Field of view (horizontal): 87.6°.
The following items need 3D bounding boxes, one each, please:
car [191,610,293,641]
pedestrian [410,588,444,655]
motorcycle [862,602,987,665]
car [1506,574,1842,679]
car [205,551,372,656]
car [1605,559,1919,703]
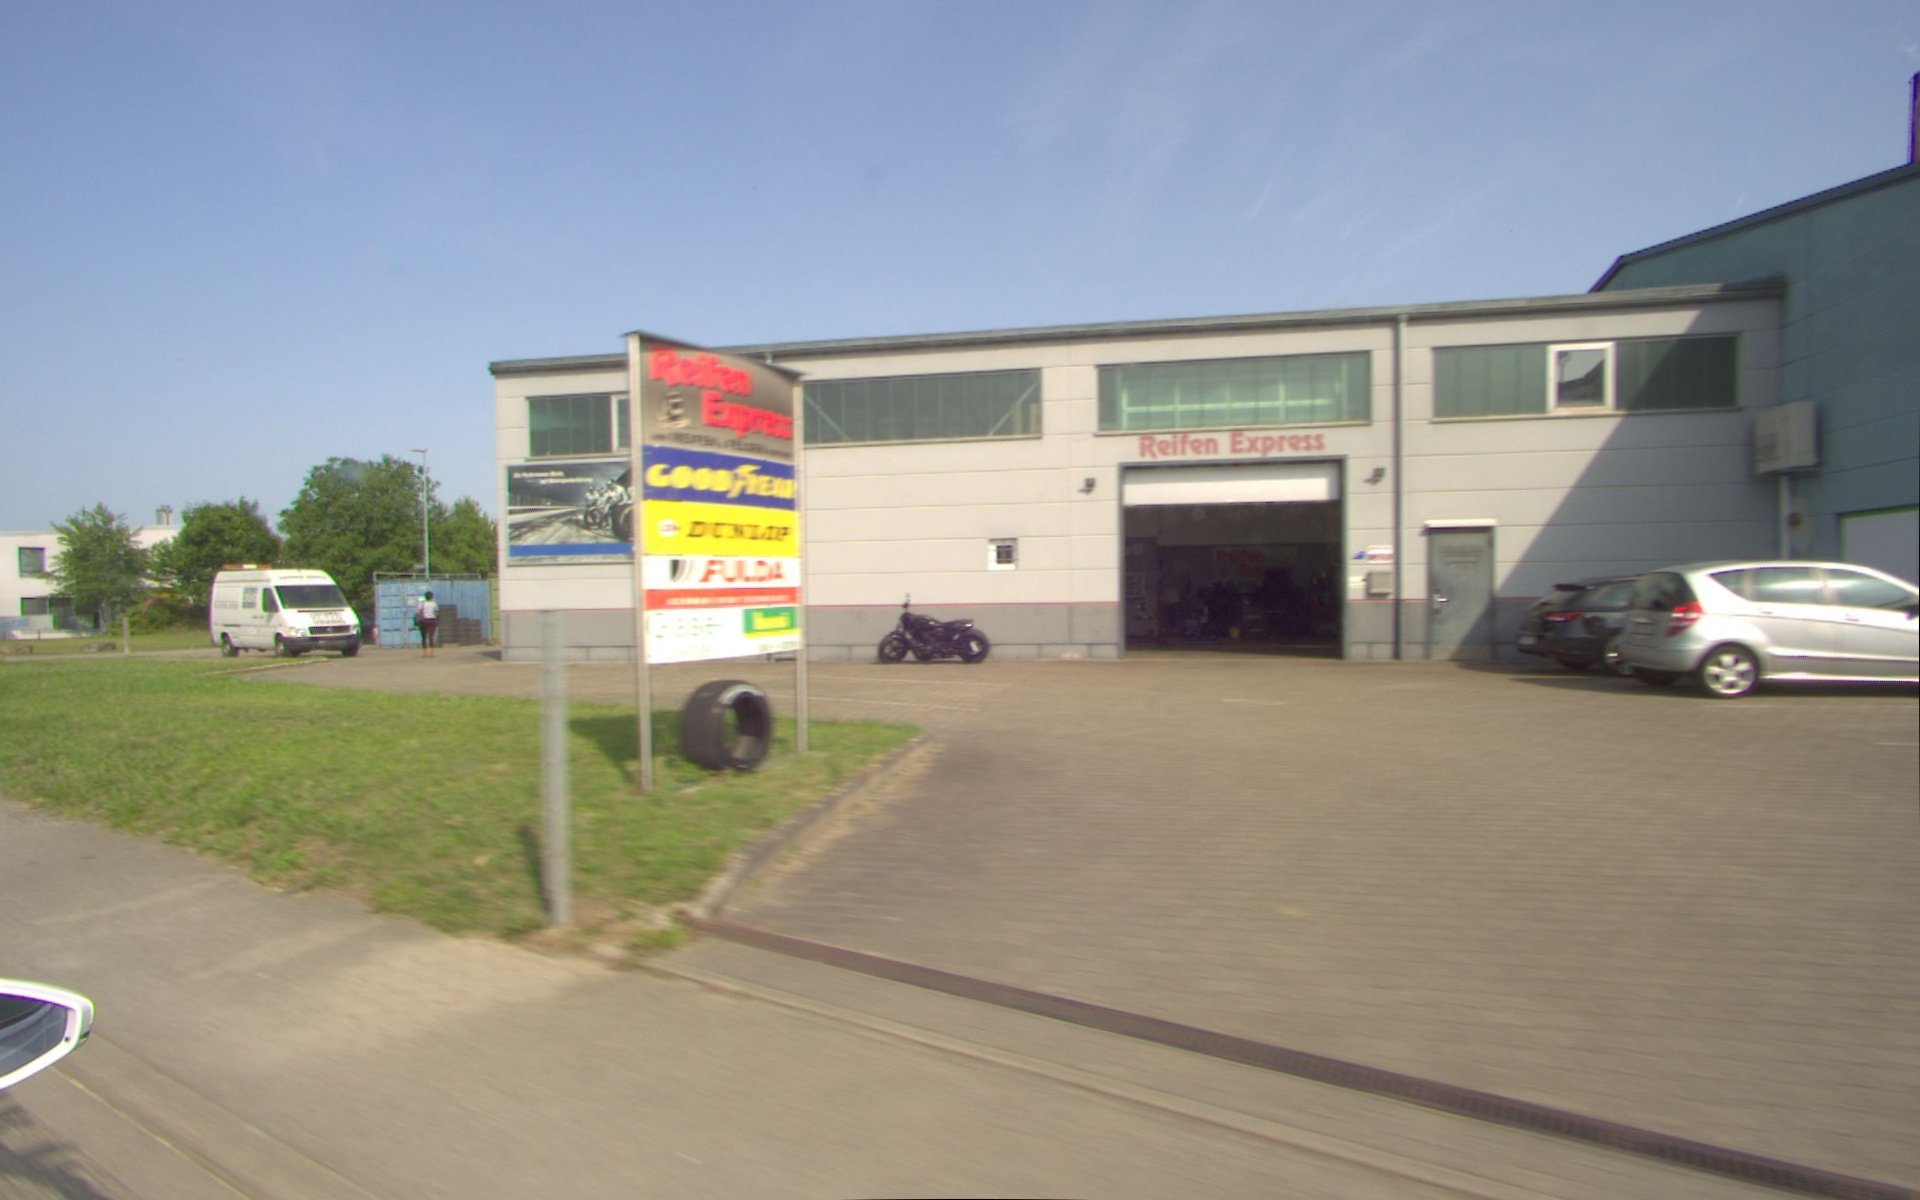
[{"bbox_3d":[-35.779,1.274,49.918,4.267,1.428,1.784,-1,1,15],"label":"car"},{"bbox_3d":[-13.540,0.538,25.436,0.694,1.662,0.746,-1,1,-26],"label":"pedestrian"},{"bbox_3d":[-0.629,0.605,18.305,2.160,1.109,0.803,-1,1,9],"label":"motorcycle"},{"bbox_3d":[10.291,0.378,14.716,3.641,1.421,1.680,-1,1,11],"label":"car"},{"bbox_3d":[-19.312,0.113,28.683,5.801,2.742,1.968,0,1,35],"label":"car"},{"bbox_3d":[10.143,0.346,11.980,3.734,1.589,1.638,-1,1,11],"label":"car"}]
